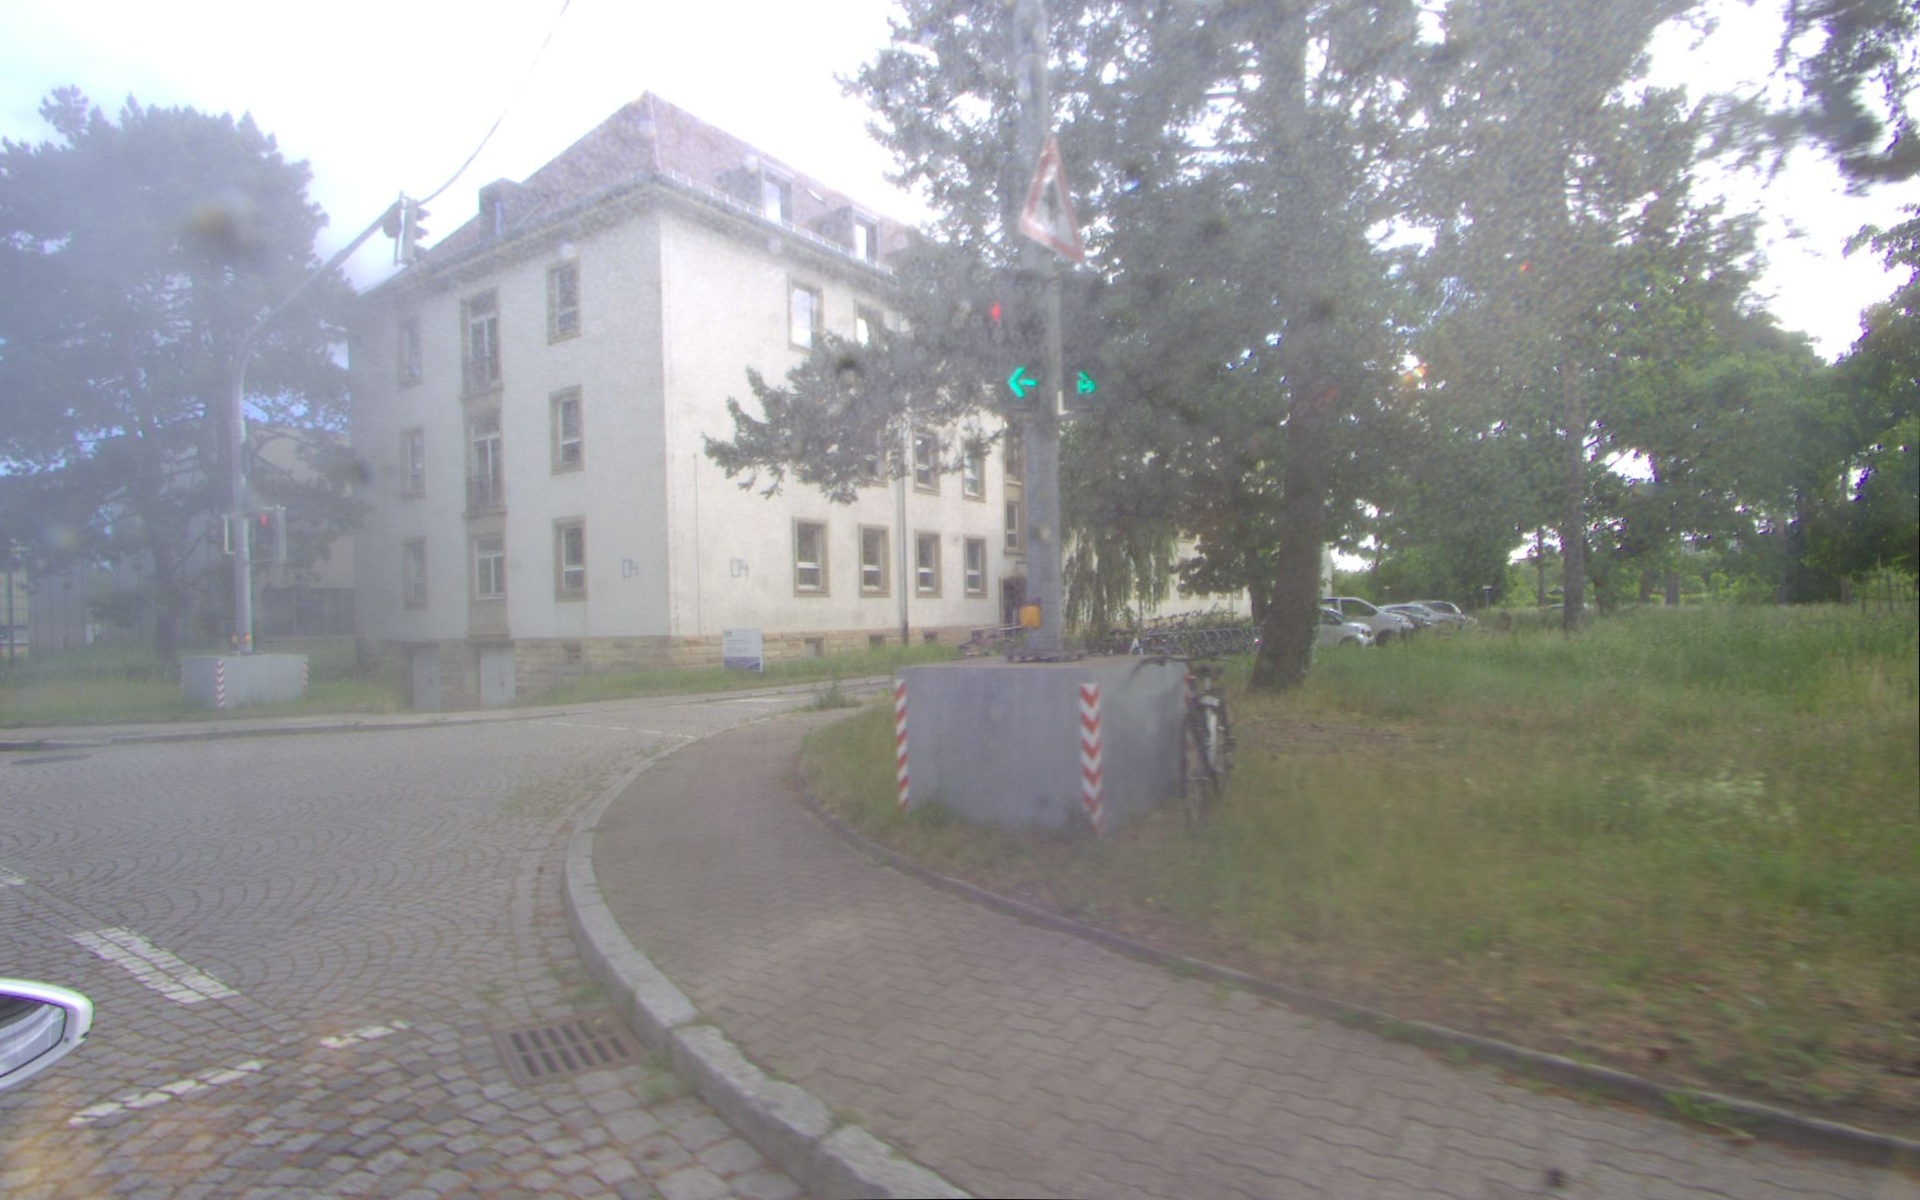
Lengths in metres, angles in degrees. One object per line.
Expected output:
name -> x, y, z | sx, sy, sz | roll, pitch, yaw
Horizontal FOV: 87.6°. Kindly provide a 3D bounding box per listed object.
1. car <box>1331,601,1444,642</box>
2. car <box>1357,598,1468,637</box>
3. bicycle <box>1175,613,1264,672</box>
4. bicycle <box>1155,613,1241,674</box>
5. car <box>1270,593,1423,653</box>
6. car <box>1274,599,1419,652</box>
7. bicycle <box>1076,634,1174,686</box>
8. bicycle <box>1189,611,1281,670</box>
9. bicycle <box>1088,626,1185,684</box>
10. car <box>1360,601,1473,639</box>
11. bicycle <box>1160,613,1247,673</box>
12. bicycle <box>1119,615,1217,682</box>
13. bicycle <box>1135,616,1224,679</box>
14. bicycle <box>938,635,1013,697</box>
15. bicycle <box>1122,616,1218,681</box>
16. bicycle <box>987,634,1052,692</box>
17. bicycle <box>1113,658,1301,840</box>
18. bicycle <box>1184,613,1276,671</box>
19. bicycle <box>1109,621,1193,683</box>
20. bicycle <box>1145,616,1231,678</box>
car -> 17.671, 0.897, 41.437 | 3.947, 1.639, 1.988 | -2, -1, 35
car -> 22.135, 0.886, 49.058 | 4.634, 1.796, 1.988 | -2, -1, 35
bicycle -> 6.114, 1.001, 23.692 | 1.992, 1.337, 0.538 | -2, -1, 40
bicycle -> 5.393, 0.977, 22.766 | 1.831, 1.337, 0.553 | -1, -1, 40
car -> 13.259, 0.800, 34.622 | 4.777, 1.935, 2.236 | -1, -1, 19
car -> 12.041, 0.806, 31.250 | 3.881, 1.550, 1.850 | -2, -1, 37
bicycle -> 3.210, 1.147, 19.576 | 1.879, 0.961, 0.539 | -2, -1, 40
bicycle -> 6.785, 0.984, 24.778 | 2.077, 1.385, 0.754 | -1, 0, 40
bicycle -> 3.532, 1.092, 20.145 | 1.880, 1.116, 0.539 | -2, -1, 40
car -> 20.938, 0.921, 46.010 | 4.457, 1.639, 1.988 | -2, -1, 35
bicycle -> 5.651, 0.990, 23.327 | 1.915, 1.337, 0.551 | -2, -1, 40
bicycle -> 4.325, 1.004, 20.910 | 2.023, 1.337, 0.435 | -2, -1, 40
bicycle -> 4.798, 1.037, 21.988 | 1.897, 1.337, 0.503 | -1, -1, 40
bicycle -> 0.287, 1.139, 17.599 | 0.523, 0.993, 1.617 | -1, -1, 33
bicycle -> 4.486, 1.022, 21.489 | 1.952, 1.337, 0.574 | -2, -1, 40
bicycle -> 1.152, 1.185, 19.129 | 0.535, 1.027, 1.532 | -1, -1, 33
bicycle -> 1.575, 0.844, 6.185 | 0.565, 0.885, 1.695 | -1, -1, 34
bicycle -> 6.486, 1.011, 24.123 | 2.107, 1.337, 0.552 | -2, -1, 40
bicycle -> 3.914, 1.059, 20.583 | 1.619, 1.231, 0.539 | -1, -1, 40
bicycle -> 5.073, 1.044, 22.345 | 1.896, 1.337, 0.390 | -1, 0, 40
